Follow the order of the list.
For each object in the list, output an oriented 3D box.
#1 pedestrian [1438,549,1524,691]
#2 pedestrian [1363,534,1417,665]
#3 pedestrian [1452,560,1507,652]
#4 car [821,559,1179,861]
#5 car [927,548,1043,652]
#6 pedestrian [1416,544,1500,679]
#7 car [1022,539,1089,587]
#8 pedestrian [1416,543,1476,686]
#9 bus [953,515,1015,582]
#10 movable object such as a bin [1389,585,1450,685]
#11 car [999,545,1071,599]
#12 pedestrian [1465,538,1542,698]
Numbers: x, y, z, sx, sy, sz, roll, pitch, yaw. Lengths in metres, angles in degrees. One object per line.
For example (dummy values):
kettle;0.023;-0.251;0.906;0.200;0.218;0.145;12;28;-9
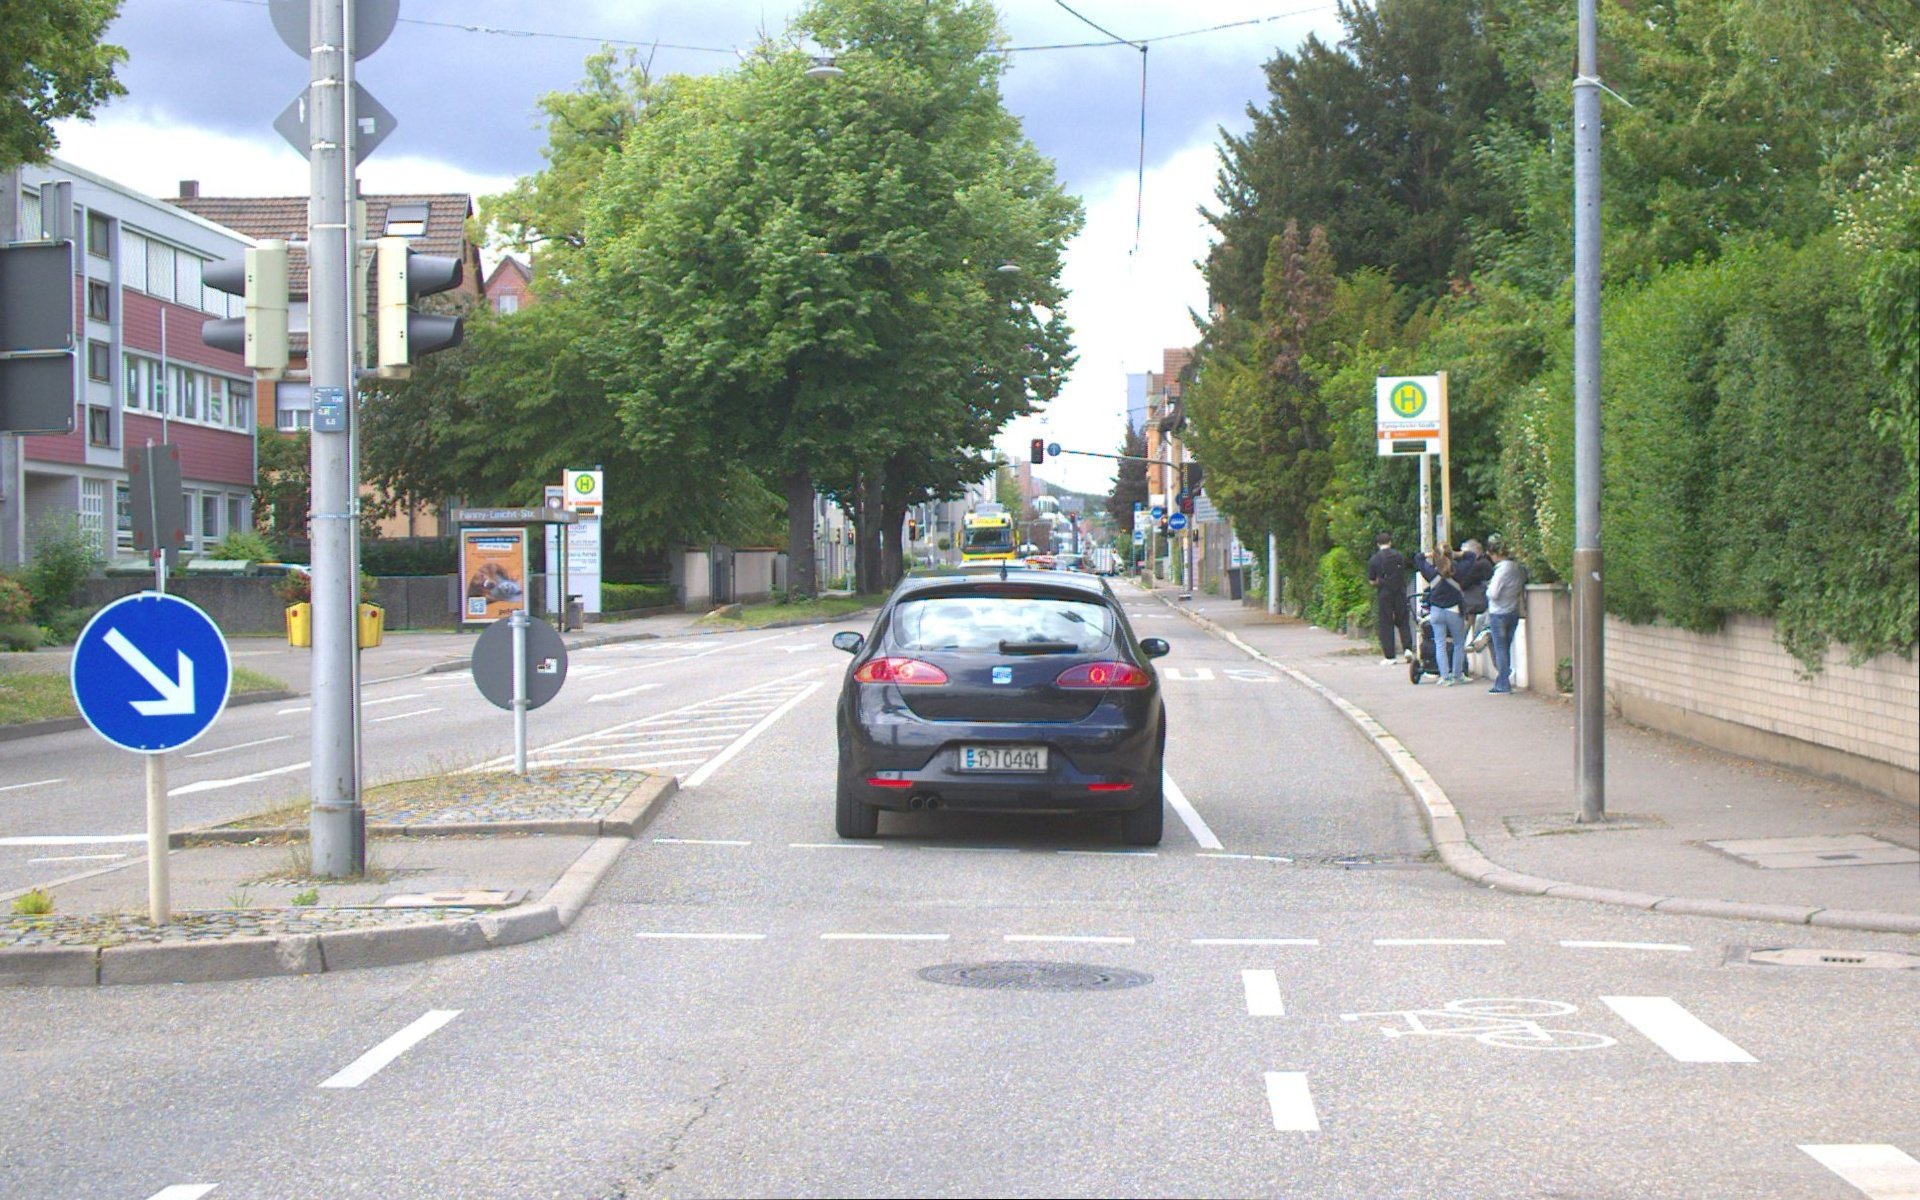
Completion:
pedestrian;5.400;0.206;35.629;0.620;1.422;0.511;-3;2;40
pedestrian;5.680;-0.009;45.425;0.585;1.706;0.529;-2;0;1
pedestrian;5.648;0.066;37.389;0.454;0.961;0.383;-4;1;-4
car;0.144;0.534;19.144;1.759;1.444;3.715;2;1;-2
car;0.472;-0.029;60.009;1.819;1.693;4.253;-1;1;3
pedestrian;5.652;0.125;39.042;0.779;1.495;0.605;-2;1;-4
car;3.410;-1.325;122.058;1.994;1.678;3.999;-1;1;7
pedestrian;5.270;0.157;37.245;0.550;1.512;0.361;-3;2;11
bus;1.162;-2.460;164.189;2.868;3.125;6.397;-1;1;1
movable object such as a bin;5.094;0.387;38.122;0.441;1.054;0.567;-3;1;28
car;2.190;-0.843;101.202;1.941;1.476;4.253;-1;1;0
pedestrian;5.405;0.174;34.177;0.543;1.550;0.471;-4;1;-7
